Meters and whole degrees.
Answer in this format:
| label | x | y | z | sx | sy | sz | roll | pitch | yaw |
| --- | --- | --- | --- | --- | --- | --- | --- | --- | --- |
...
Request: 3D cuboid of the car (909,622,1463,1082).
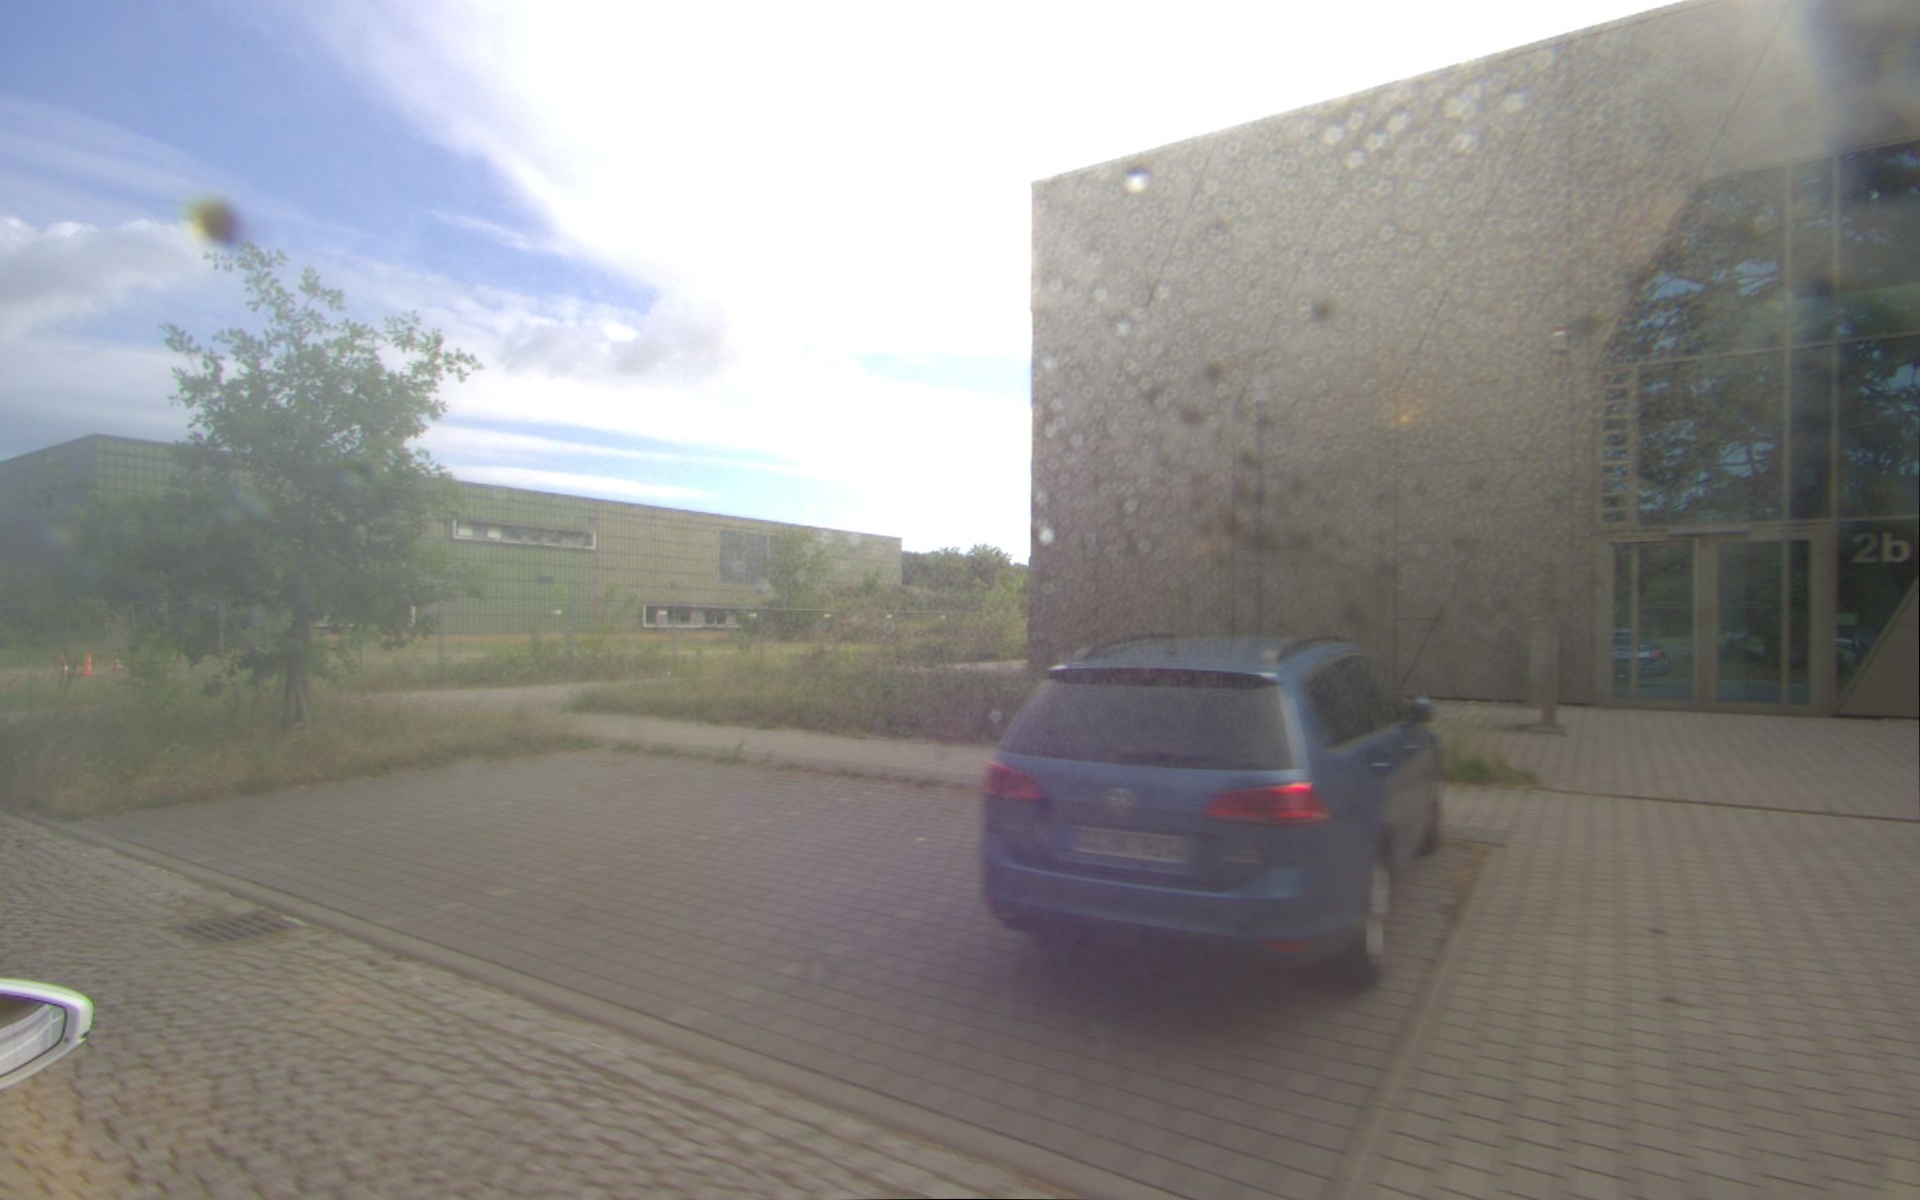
| label | x | y | z | sx | sy | sz | roll | pitch | yaw |
| --- | --- | --- | --- | --- | --- | --- | --- | --- | --- |
| car | 1.716 | 0.915 | 5.821 | 1.797 | 1.463 | 4.513 | 0 | 0 | 31 |
